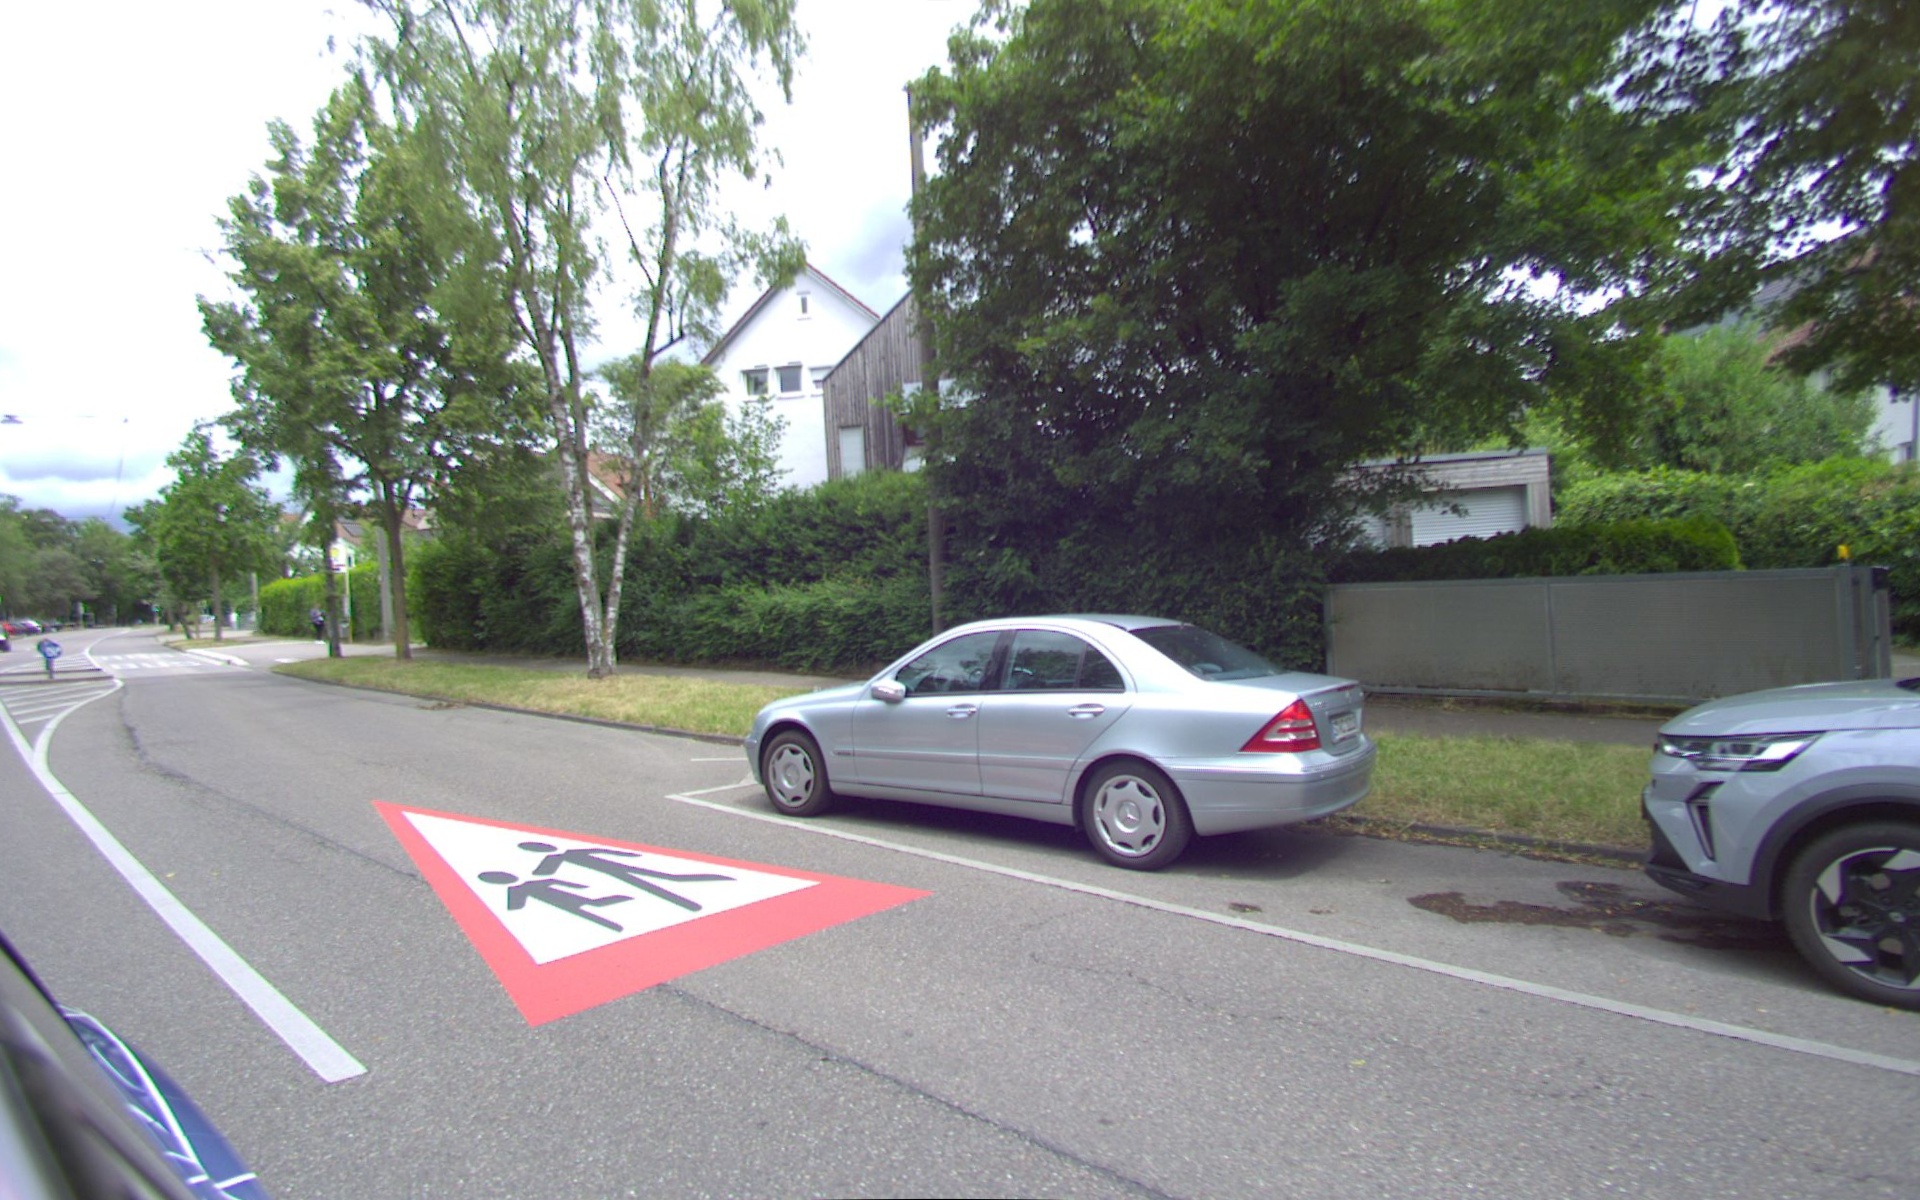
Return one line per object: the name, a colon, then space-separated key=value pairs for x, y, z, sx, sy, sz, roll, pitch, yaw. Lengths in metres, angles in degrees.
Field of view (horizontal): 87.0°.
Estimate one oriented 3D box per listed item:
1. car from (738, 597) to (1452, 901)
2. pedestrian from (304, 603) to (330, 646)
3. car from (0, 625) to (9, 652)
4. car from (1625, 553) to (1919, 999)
car: x=0.680 y=0.750 z=6.775 sx=4.463 sy=1.427 sz=1.720 roll=-2 pitch=-1 yaw=36
pedestrian: x=-26.875 y=1.018 z=42.304 sx=0.778 sy=1.723 sz=0.684 roll=-2 pitch=0 yaw=42
car: x=-51.073 y=2.047 z=52.675 sx=1.832 sy=1.384 sz=4.084 roll=-2 pitch=1 yaw=-38
car: x=4.827 y=0.584 z=3.324 sx=4.188 sy=1.550 sz=1.717 roll=-2 pitch=-1 yaw=42
